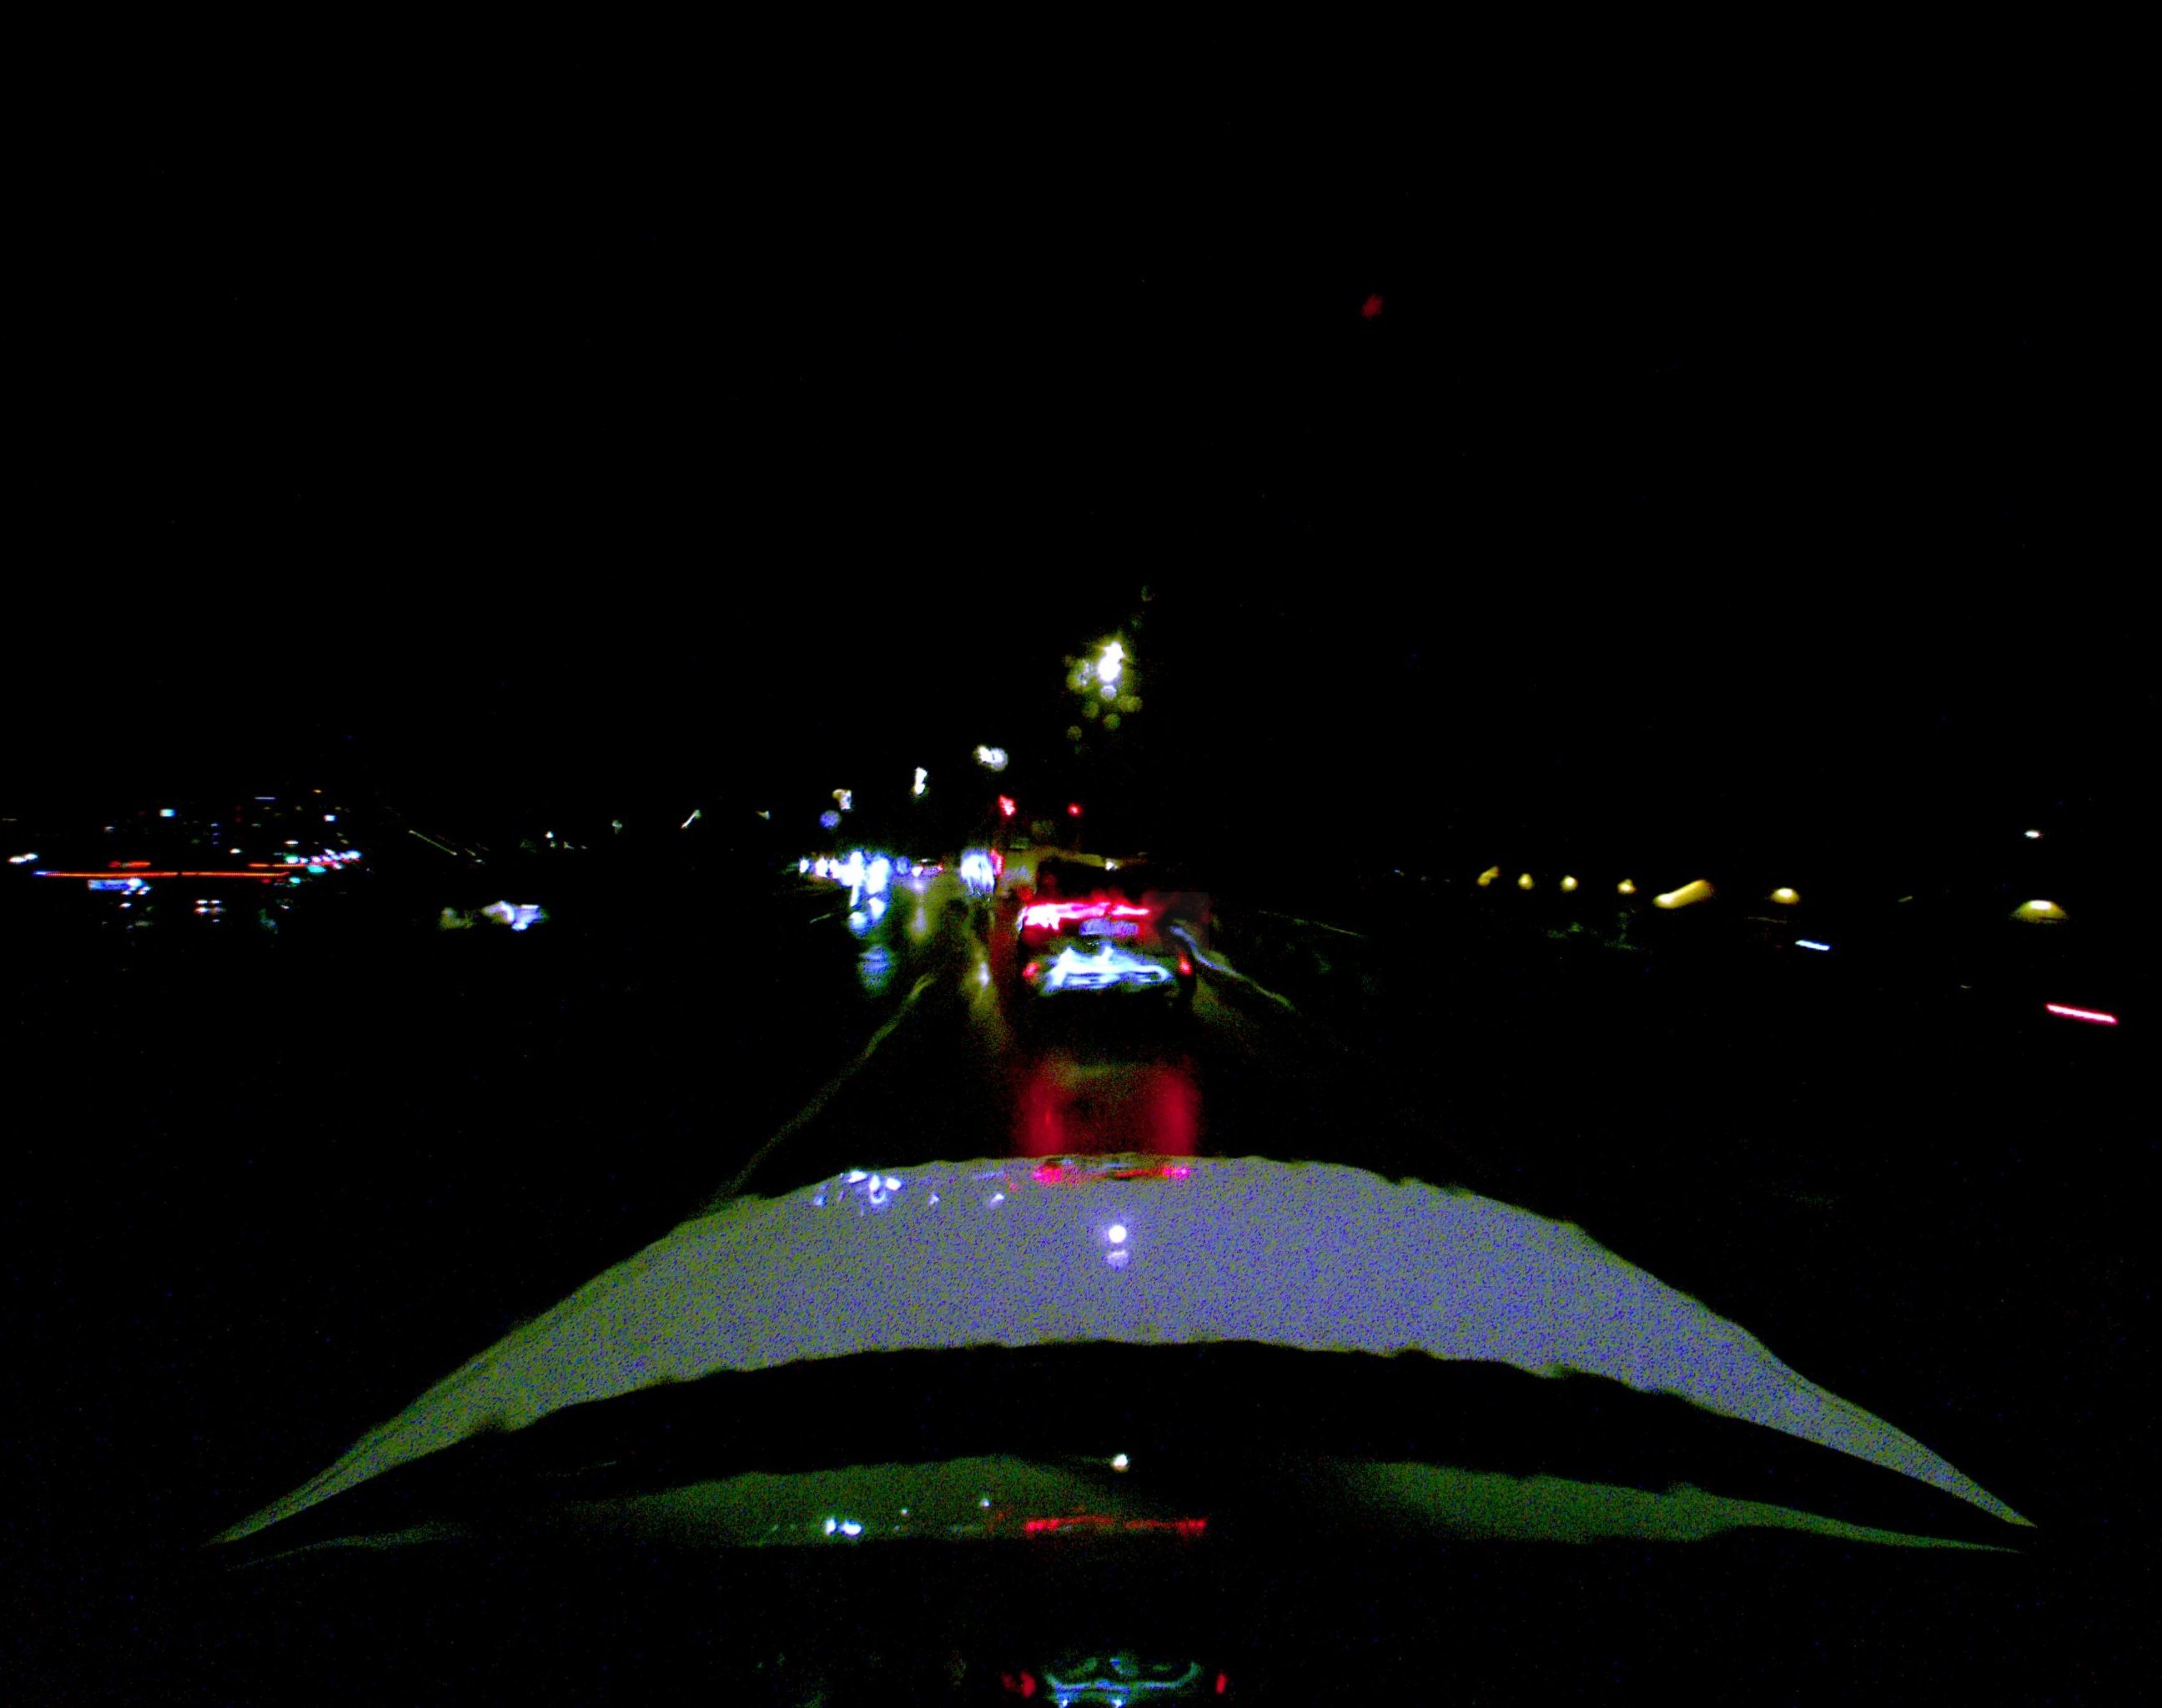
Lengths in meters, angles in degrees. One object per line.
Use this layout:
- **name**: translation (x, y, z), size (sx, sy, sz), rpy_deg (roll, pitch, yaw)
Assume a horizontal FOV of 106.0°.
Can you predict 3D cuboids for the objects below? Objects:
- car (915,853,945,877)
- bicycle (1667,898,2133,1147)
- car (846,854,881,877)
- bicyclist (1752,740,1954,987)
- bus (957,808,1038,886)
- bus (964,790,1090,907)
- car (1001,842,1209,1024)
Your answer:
- **car**: translation (-11.341, 0.849, 60.890), size (1.641, 1.656, 3.685), rpy_deg (-1, -3, -19)
- **bicycle**: translation (4.561, 0.832, 4.839), size (0.483, 1.034, 2.169), rpy_deg (-1, 0, -3)
- **car**: translation (-17.194, 0.931, 64.186), size (1.788, 1.704, 4.275), rpy_deg (-2, 0, -27)
- **bicyclist**: translation (4.556, 0.051, 4.852), size (0.452, 1.349, 0.763), rpy_deg (0, 0, -5)
- **bus**: translation (-4.161, -0.292, 38.844), size (3.049, 3.132, 8.049), rpy_deg (4, -1, -10)
- **bus**: translation (-2.353, -0.156, 28.561), size (3.083, 3.132, 12.654), rpy_deg (-2, 0, -9)
- **car**: translation (0.158, 0.720, 9.305), size (1.851, 1.586, 3.997), rpy_deg (-1, 0, -2)
